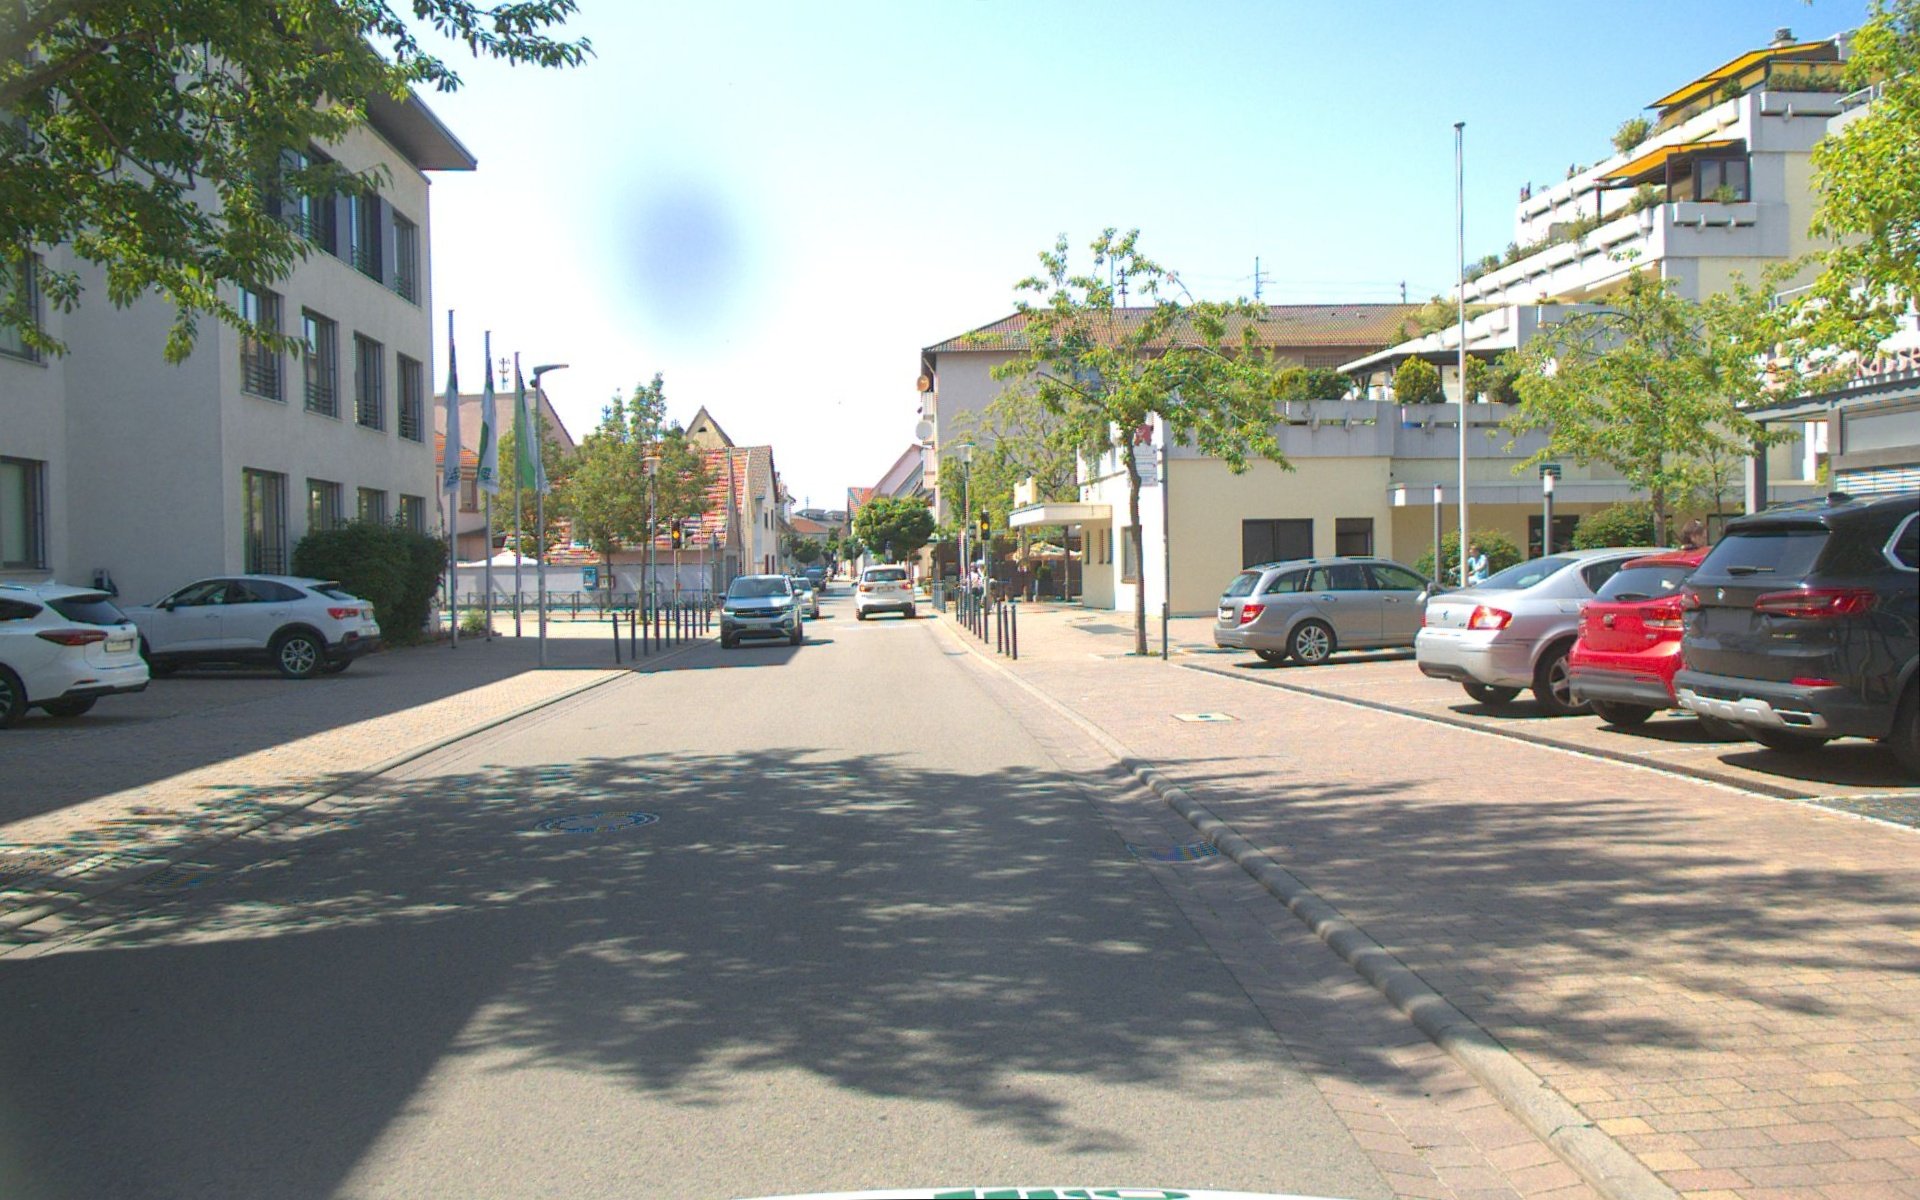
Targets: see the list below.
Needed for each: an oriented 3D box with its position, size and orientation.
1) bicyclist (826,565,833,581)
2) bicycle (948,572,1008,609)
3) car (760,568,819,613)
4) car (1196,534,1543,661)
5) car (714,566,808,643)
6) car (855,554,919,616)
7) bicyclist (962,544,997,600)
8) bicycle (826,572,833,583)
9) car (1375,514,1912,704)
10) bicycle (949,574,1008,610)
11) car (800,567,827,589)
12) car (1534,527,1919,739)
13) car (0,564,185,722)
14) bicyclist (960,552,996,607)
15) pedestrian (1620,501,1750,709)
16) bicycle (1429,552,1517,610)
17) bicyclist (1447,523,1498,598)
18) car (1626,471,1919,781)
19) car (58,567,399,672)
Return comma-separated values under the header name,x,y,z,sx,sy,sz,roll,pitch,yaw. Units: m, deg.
name,x,y,z,sx,sy,sz,roll,pitch,yaw
bicyclist,-12.725,-2.655,161.414,0.660,1.508,0.770,-2,1,-4
bicycle,0.556,-0.283,49.810,0.664,0.974,1.884,-1,3,44
car,-5.979,-0.352,58.377,1.843,1.489,4.433,-1,1,-3
car,5.926,-0.055,24.151,4.492,1.538,1.912,-3,1,-9
car,-4.447,0.055,37.383,1.814,1.601,3.998,-1,1,-3
car,-2.260,-0.502,51.230,1.797,1.680,3.999,-3,3,-2
bicyclist,0.603,-0.860,50.895,0.659,1.693,0.757,-2,2,44
bicycle,-12.730,-2.218,161.403,0.651,1.023,1.896,-2,1,-4
car,6.488,0.045,15.912,4.453,1.465,1.836,-3,1,-9
bicycle,0.567,-0.258,50.837,0.664,0.974,1.884,-2,2,44
car,-10.662,-1.598,120.478,1.679,1.543,3.786,-1,1,-1
car,6.819,0.197,13.443,3.661,1.477,1.741,-3,1,-9
car,-10.954,0.438,17.648,4.414,1.581,1.934,-1,2,-4
bicyclist,0.537,-0.622,49.783,0.659,1.609,0.757,-2,2,44
pedestrian,6.372,0.037,14.559,0.735,1.746,0.697,-3,1,-10
bicycle,11.005,-0.414,35.464,1.870,1.128,0.669,-4,2,-30
bicyclist,10.977,-0.843,35.450,0.751,1.553,0.664,-3,2,-29
car,7.182,0.017,11.067,4.539,1.801,2.146,-3,2,-4
car,-11.408,0.271,26.089,4.418,1.581,2.146,0,1,-5
